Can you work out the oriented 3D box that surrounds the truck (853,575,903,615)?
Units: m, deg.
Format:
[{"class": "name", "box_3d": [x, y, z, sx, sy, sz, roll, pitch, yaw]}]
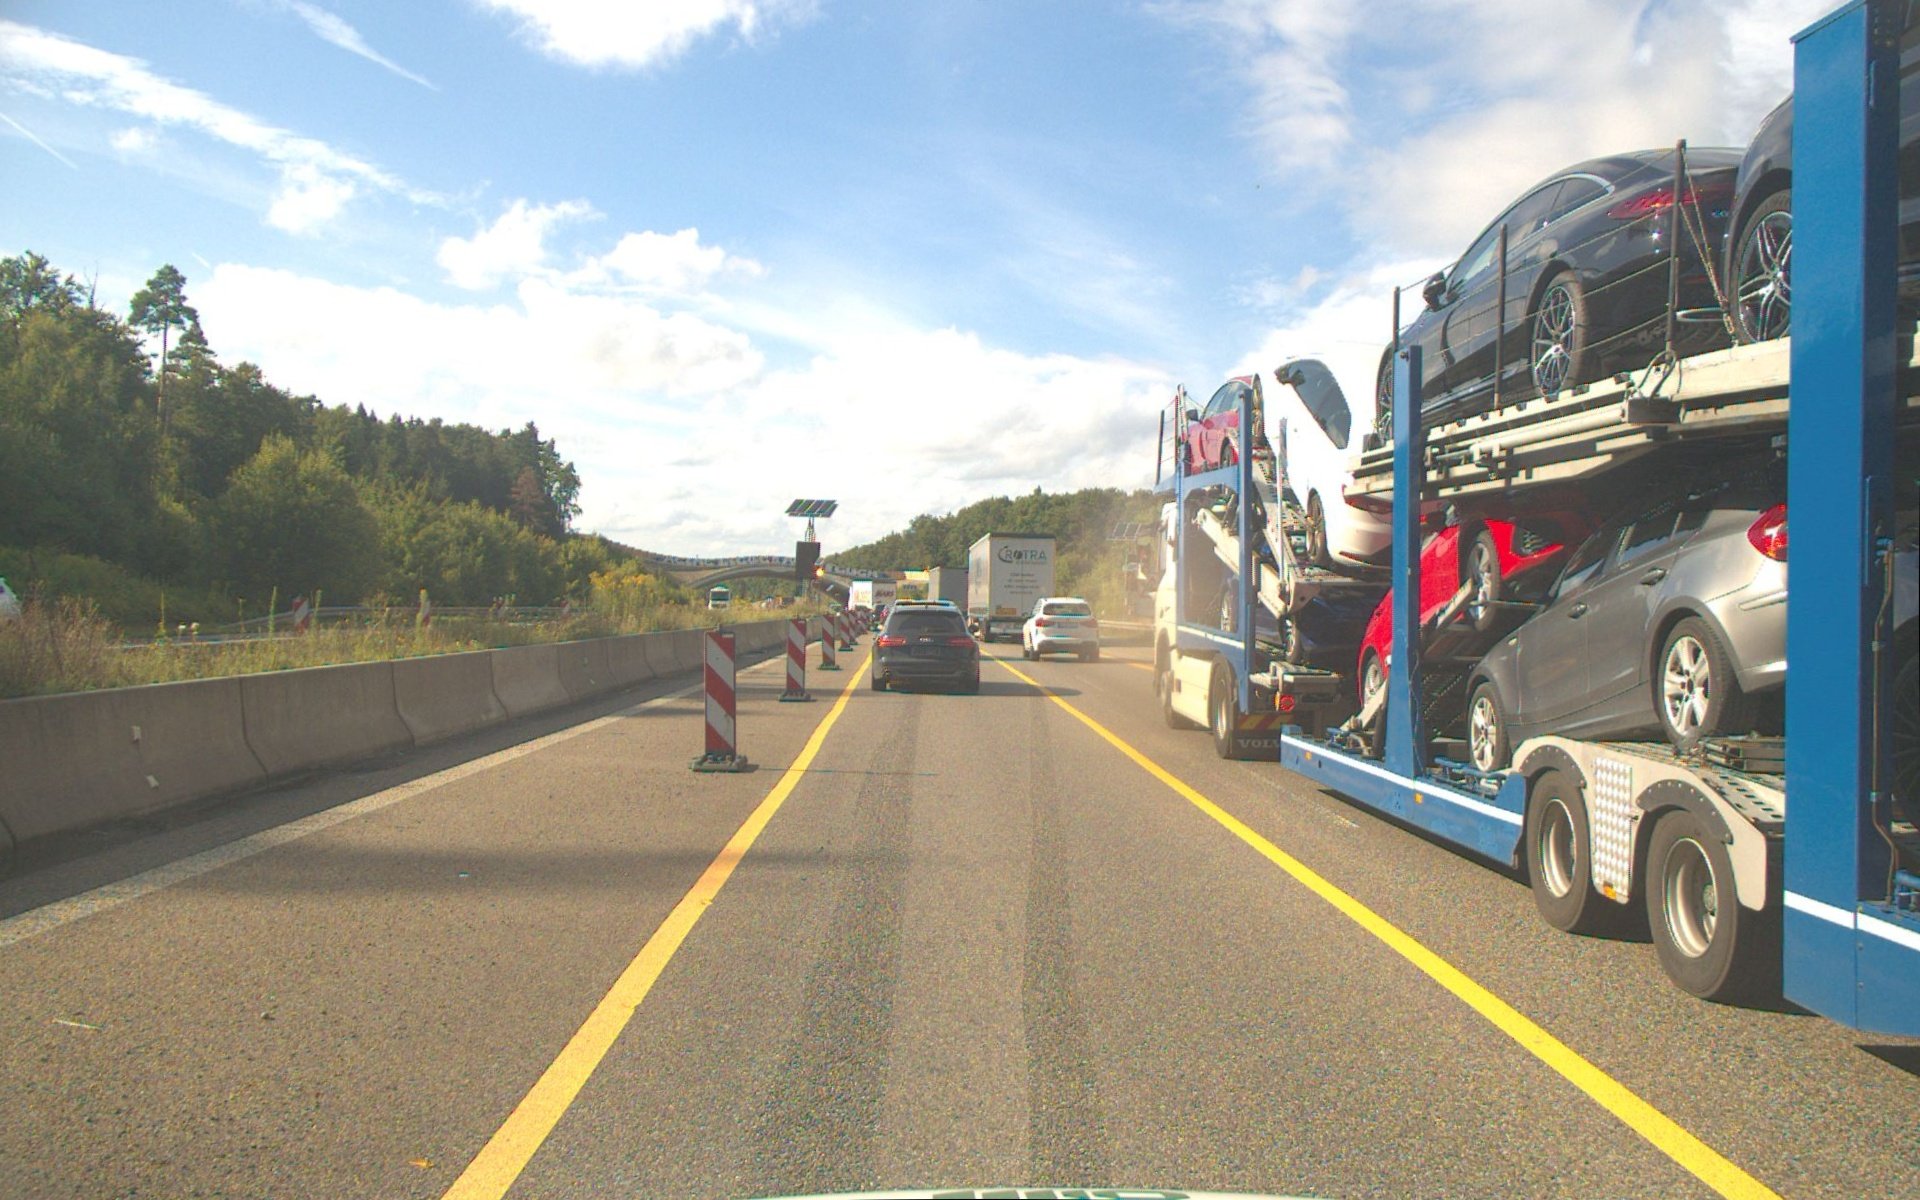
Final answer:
[{"class": "truck", "box_3d": [-8.592, -0.509, 172.056, 3.589, 3.997, 11.037, 1, 0, -11]}]

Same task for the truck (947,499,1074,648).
[{"class": "truck", "box_3d": [1.809, -0.931, 69.652, 3.605, 5.447, 16.186, 1, 0, -4]}]

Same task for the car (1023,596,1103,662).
[{"class": "car", "box_3d": [2.770, 0.764, 45.151, 1.852, 1.672, 4.017, 1, 0, -1]}]

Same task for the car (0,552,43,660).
[{"class": "car", "box_3d": [-17.126, 0.080, 27.132, 1.742, 1.817, 4.364, 1, 0, -1]}]

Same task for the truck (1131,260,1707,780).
[{"class": "truck", "box_3d": [4.271, -0.638, 17.809, 3.686, 4.270, 7.947, 1, 0, -2]}]

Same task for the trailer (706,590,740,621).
[{"class": "trailer", "box_3d": [-28.329, 0.636, 198.099, 2.745, 3.551, 11.109, 1, 0, -1]}]

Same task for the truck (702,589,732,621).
[{"class": "truck", "box_3d": [-28.211, 0.581, 192.053, 2.728, 3.551, 4.938, 1, -1, -1]}]

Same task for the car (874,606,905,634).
[{"class": "car", "box_3d": [-5.333, 1.490, 124.663, 1.955, 2.049, 3.994, 1, 0, -7]}]

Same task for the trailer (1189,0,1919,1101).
[{"class": "trailer", "box_3d": [4.540, -0.595, 9.384, 3.651, 4.270, 16.220, 1, 0, -2]}]

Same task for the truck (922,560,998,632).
[{"class": "truck", "box_3d": [-0.126, -0.257, 115.272, 4.235, 4.681, 11.112, 1, 0, -5]}]

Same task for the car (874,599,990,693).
[{"class": "car", "box_3d": [-0.481, 0.758, 28.720, 1.852, 1.472, 3.999, 1, 0, -1]}]

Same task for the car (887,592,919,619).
[{"class": "car", "box_3d": [-3.744, 0.377, 107.832, 1.853, 1.672, 4.013, 1, 0, -5]}]
